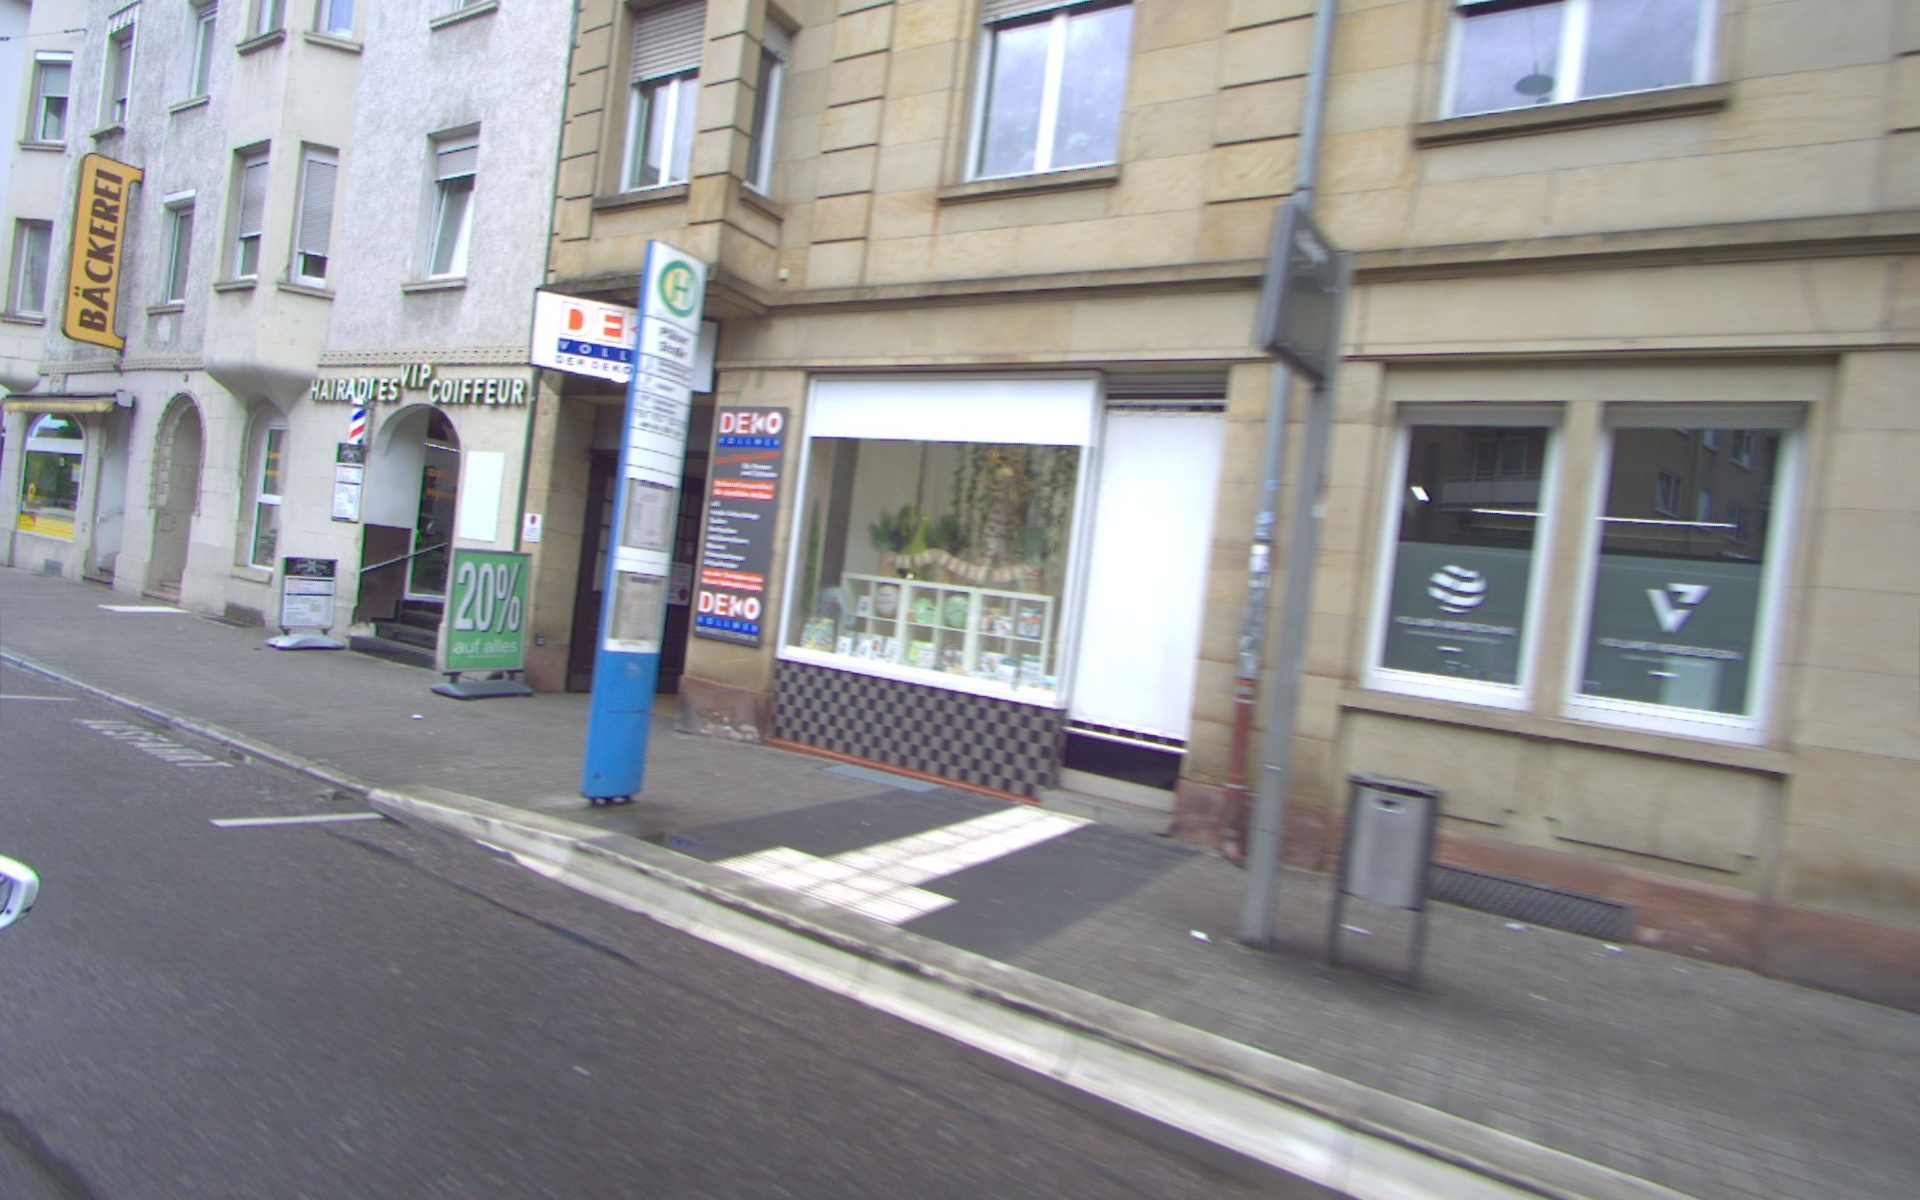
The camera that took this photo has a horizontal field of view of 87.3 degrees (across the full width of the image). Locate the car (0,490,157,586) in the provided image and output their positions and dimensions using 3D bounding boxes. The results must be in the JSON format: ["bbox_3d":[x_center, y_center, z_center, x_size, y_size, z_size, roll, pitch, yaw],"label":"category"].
[{"bbox_3d":[-21.201,-1.506,22.884,1.844,1.792,4.140,7,-1,36],"label":"car"}]
